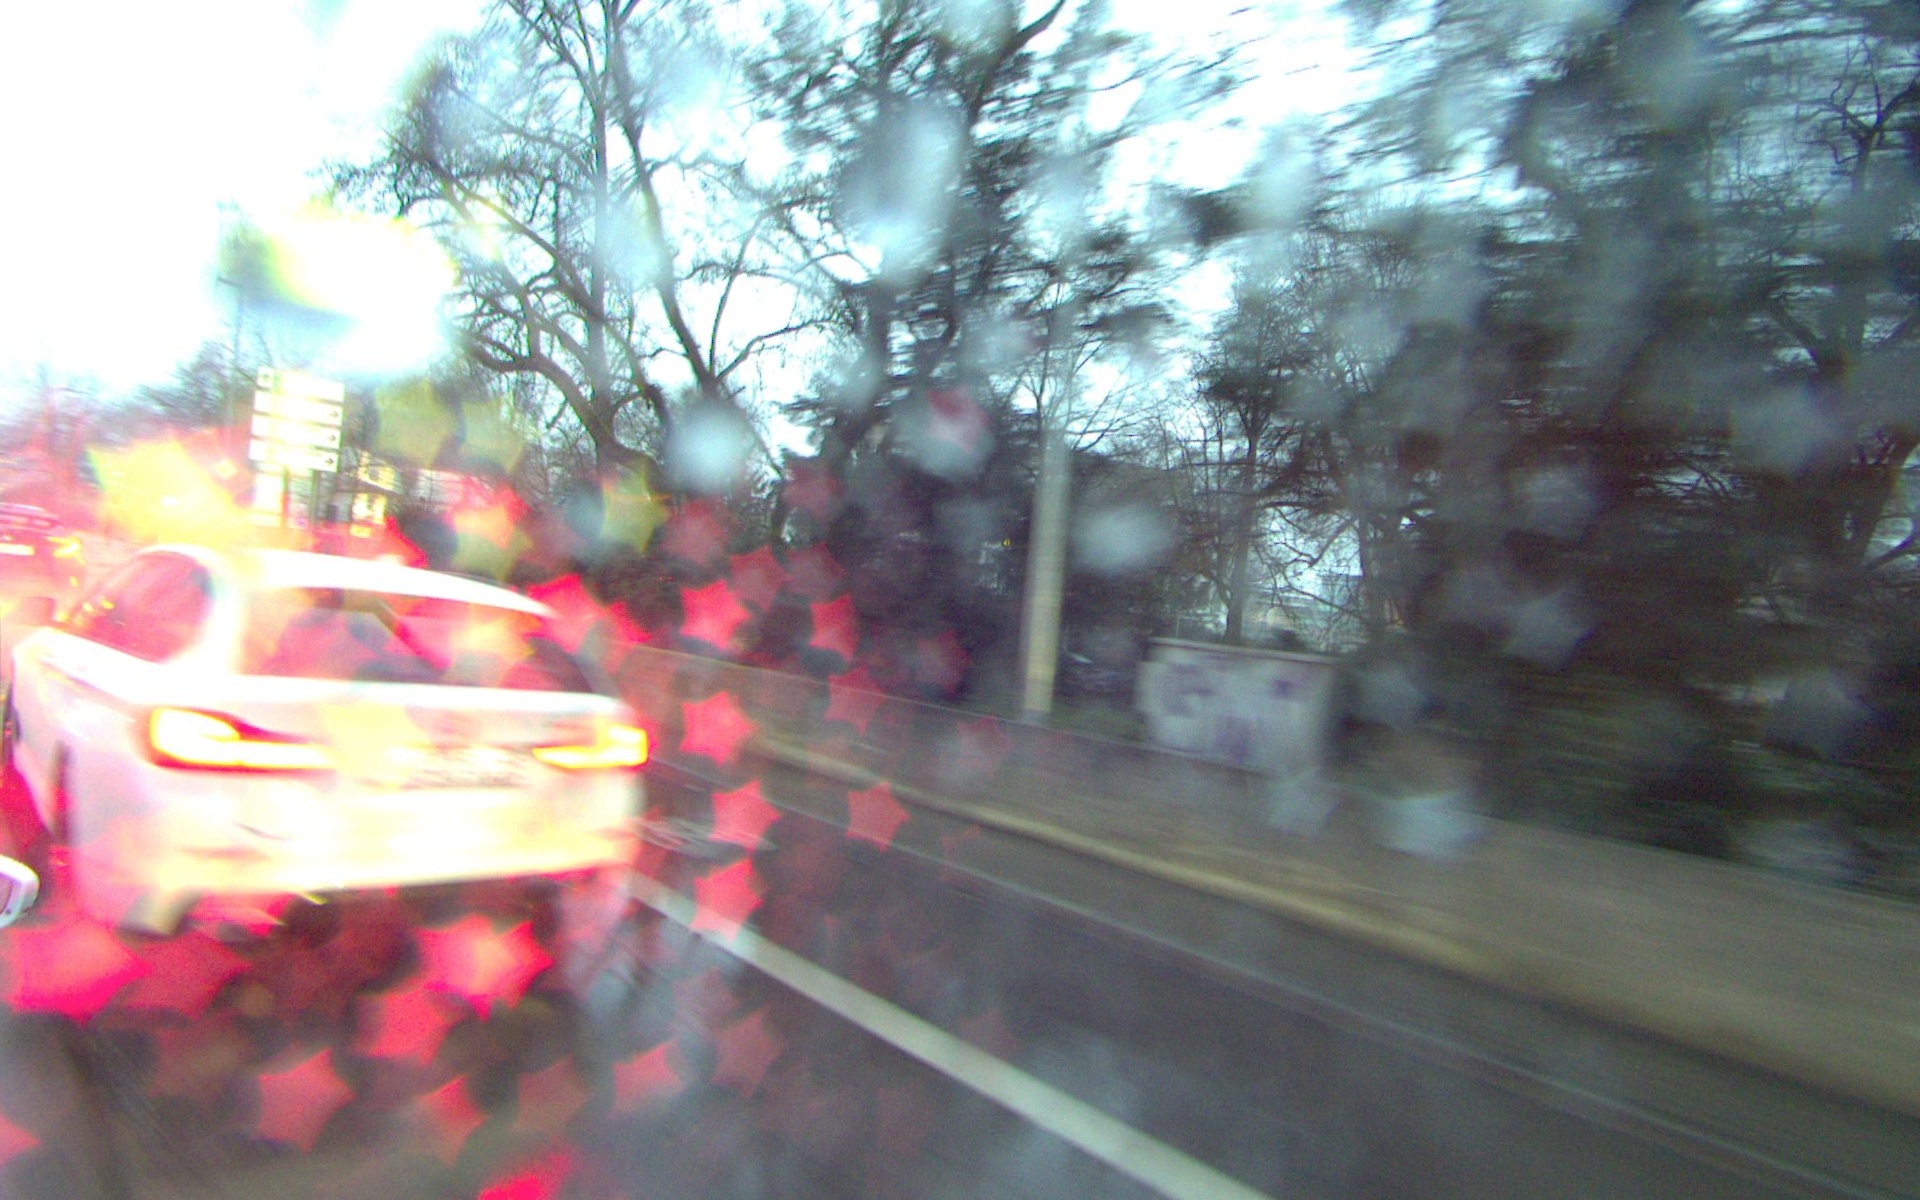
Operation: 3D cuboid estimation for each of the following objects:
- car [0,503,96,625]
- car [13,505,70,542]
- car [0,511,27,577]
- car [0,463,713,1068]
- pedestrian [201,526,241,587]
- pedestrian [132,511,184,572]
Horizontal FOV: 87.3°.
[{"bbox_3d":[-13.891,-0.621,14.482,3.845,1.529,1.796,5,-1,45],"label":"car"},{"bbox_3d":[-43.362,-3.605,47.479,3.655,1.437,1.733,6,-1,44],"label":"car"},{"bbox_3d":[-23.627,-1.474,24.002,3.684,1.449,1.742,5,-3,45],"label":"car"},{"bbox_3d":[-3.411,0.346,4.985,4.874,1.575,1.858,6,-1,45],"label":"car"},{"bbox_3d":[-26.382,-1.562,35.914,0.955,2.038,0.996,6,0,-41],"label":"pedestrian"},{"bbox_3d":[-29.000,-2.097,36.368,0.989,2.038,0.961,6,0,22],"label":"pedestrian"}]
